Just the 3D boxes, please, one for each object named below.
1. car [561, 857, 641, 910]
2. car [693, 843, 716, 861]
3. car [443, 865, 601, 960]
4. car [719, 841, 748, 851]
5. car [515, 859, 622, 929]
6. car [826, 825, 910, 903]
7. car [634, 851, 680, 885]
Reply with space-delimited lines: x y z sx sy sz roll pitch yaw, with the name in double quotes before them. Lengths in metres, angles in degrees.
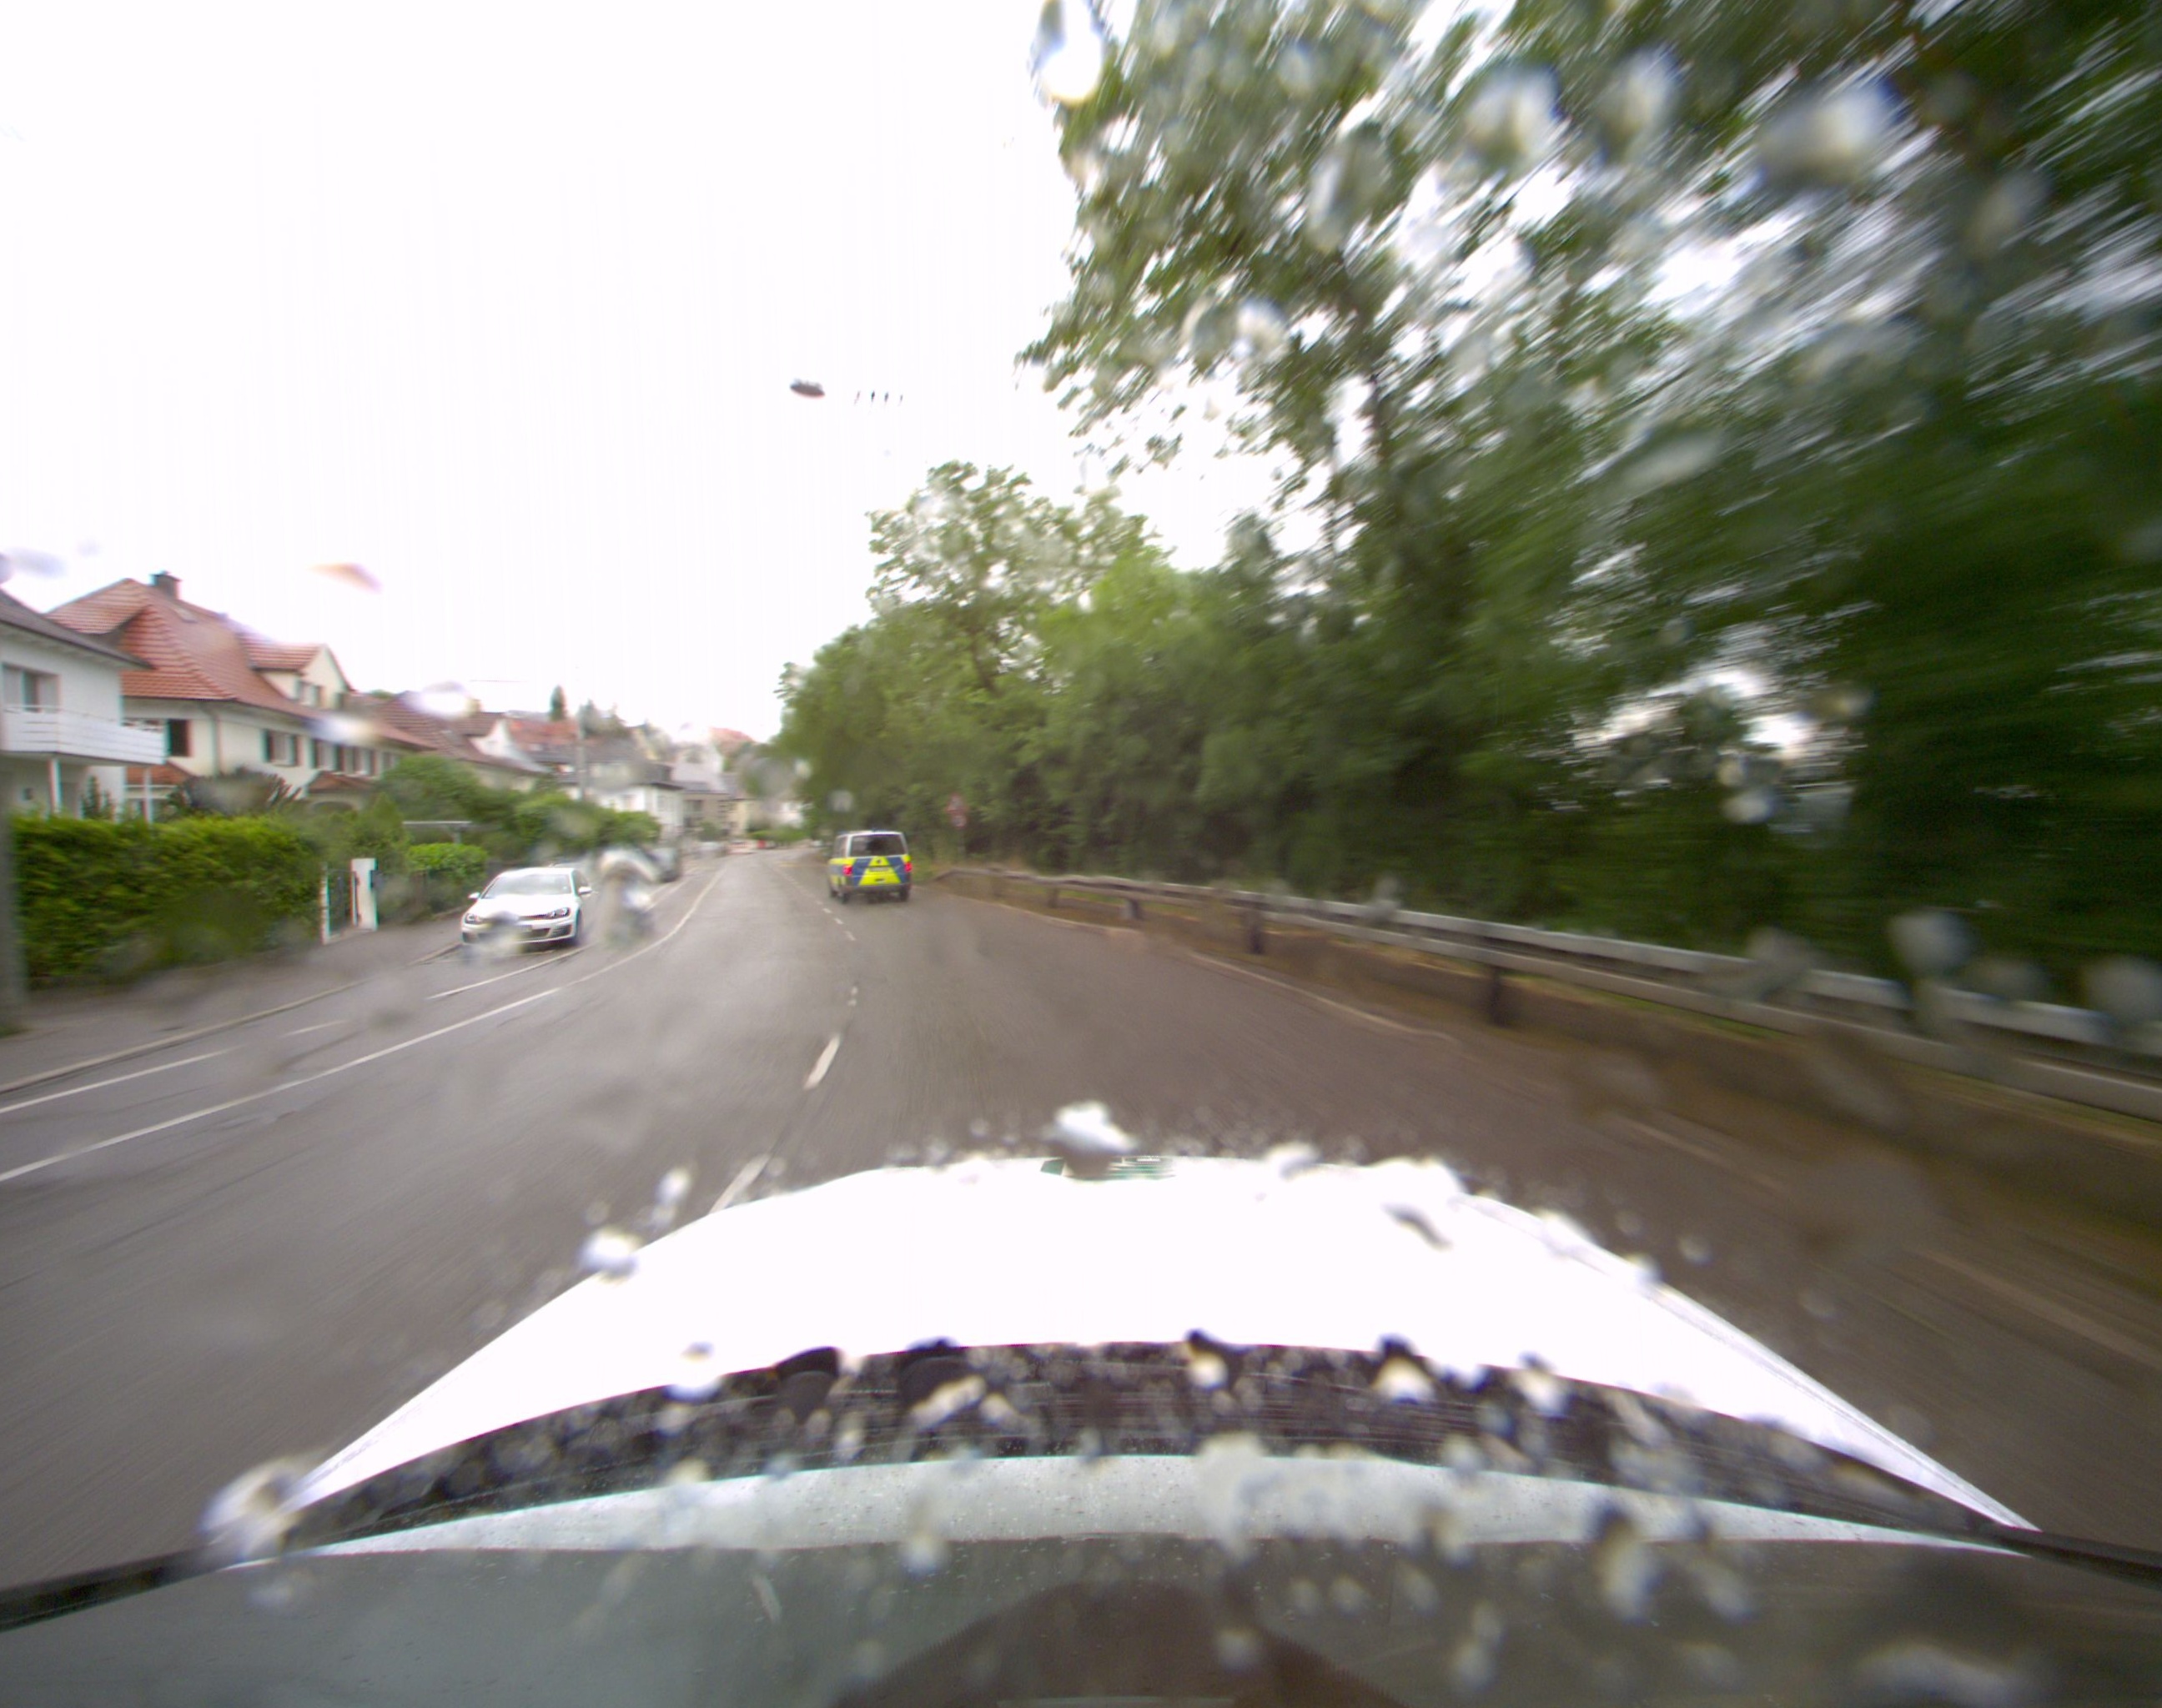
"car" -14.955 0.863 25.544 1.706 1.468 3.682 -1 1 -24
"car" -37.553 -0.242 81.296 1.761 1.658 4.375 -2 2 -21
"car" -10.733 1.009 15.967 1.741 1.421 4.249 -3 2 -24
"car" -51.402 -1.192 120.504 3.949 1.443 1.851 1 2 29
"car" -13.158 0.944 21.156 1.706 1.524 4.388 -1 1 -24
"car" -6.314 0.265 23.800 2.000 2.013 4.373 -2 0 -19
"car" -20.456 0.633 39.404 1.696 1.418 4.181 -3 2 -25
